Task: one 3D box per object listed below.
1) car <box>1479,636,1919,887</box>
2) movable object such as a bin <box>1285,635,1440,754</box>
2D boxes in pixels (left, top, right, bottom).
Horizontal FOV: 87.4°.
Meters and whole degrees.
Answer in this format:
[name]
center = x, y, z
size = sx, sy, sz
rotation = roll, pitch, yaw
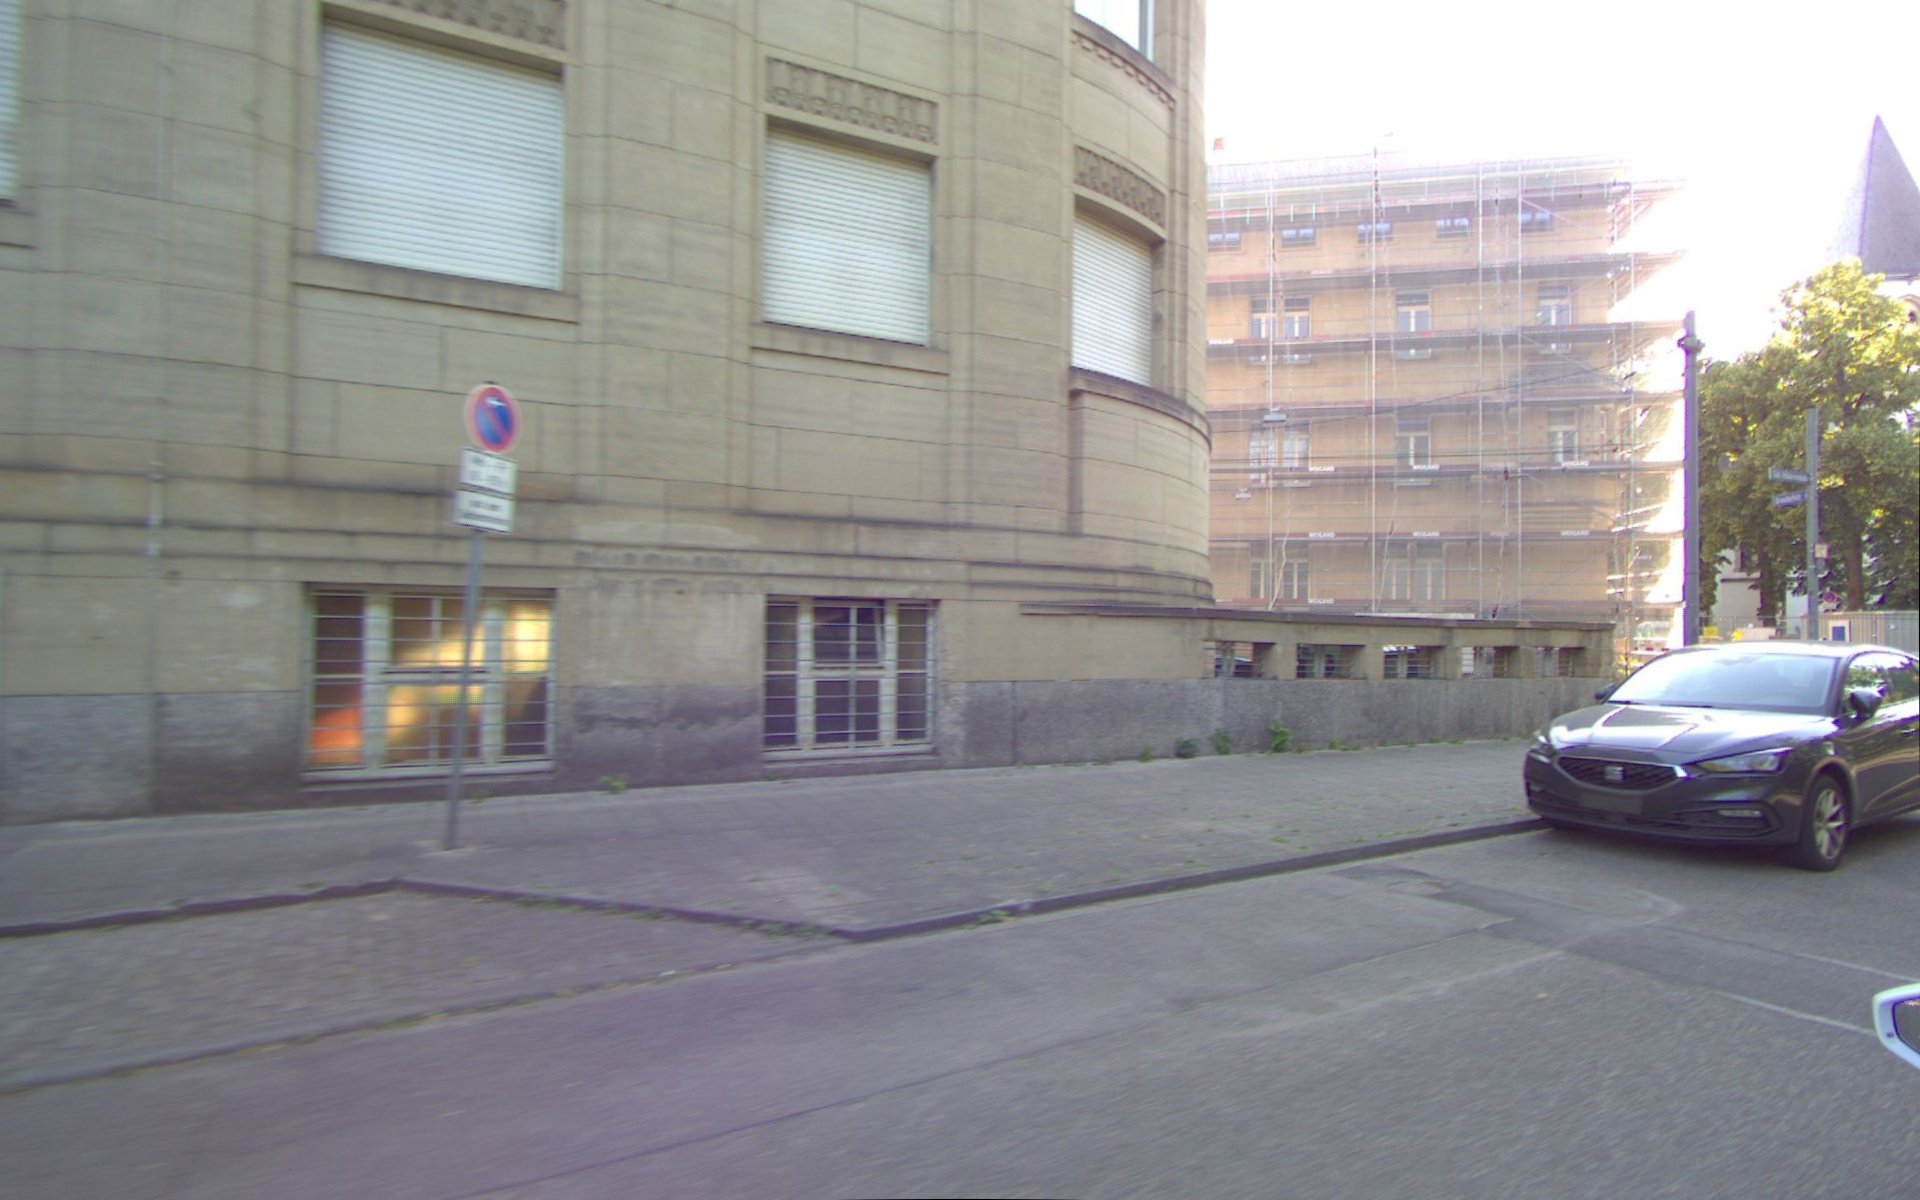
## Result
[car]
center = 6.053, 1.019, 7.679
size = 4.158, 1.467, 1.736
rotation = 2, -2, -29
[movable object such as a bin]
center = 5.408, 1.225, 13.554
size = 1.603, 1.505, 1.145
rotation = 1, -2, -20
